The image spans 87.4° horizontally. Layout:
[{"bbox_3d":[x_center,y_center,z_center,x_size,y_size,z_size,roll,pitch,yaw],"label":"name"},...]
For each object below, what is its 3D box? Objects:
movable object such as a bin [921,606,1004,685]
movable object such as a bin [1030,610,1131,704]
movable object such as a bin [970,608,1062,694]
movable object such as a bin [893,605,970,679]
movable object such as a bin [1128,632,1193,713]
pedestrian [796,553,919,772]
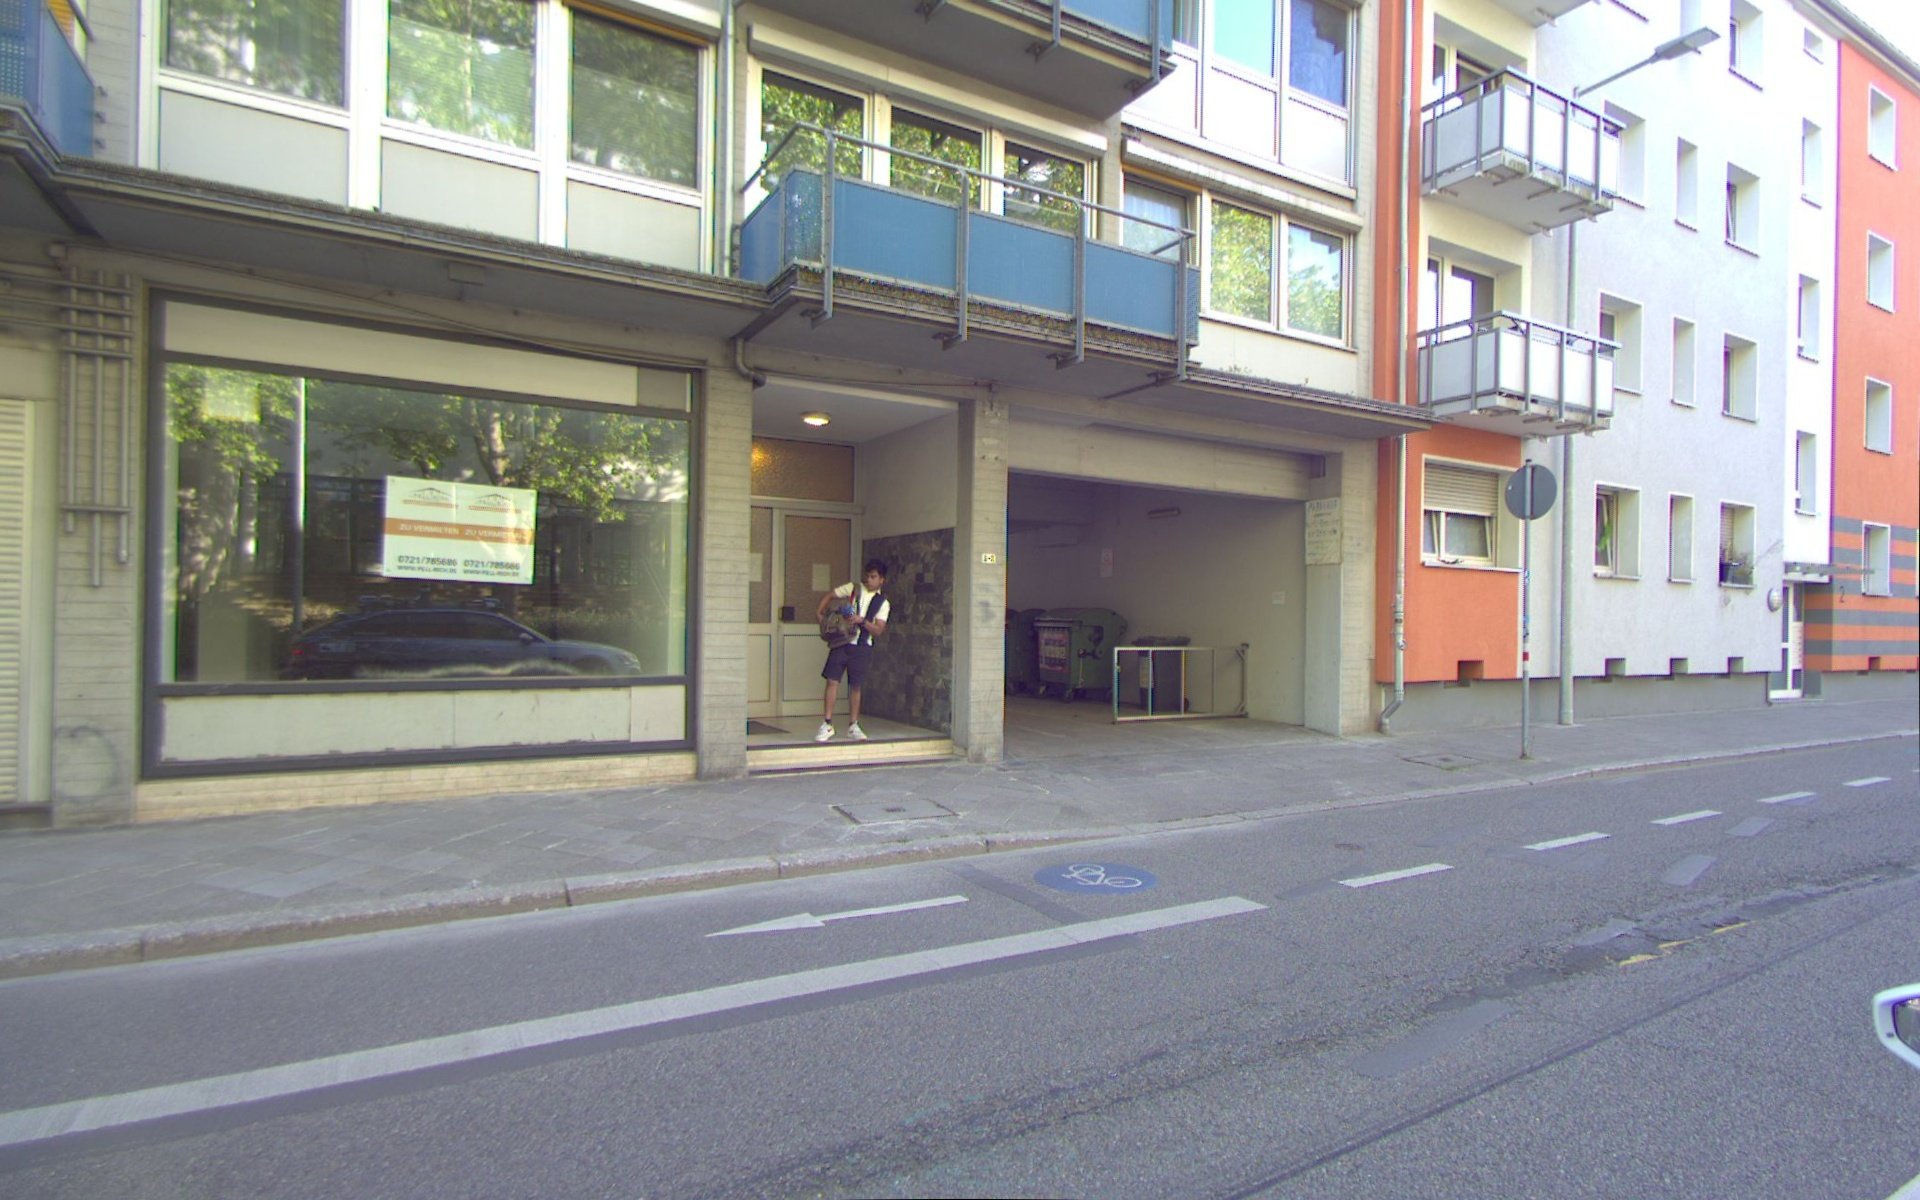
[{"bbox_3d":[0.032,0.830,18.693,1.066,1.384,1.255,2,0,-27],"label":"movable object such as a bin"},{"bbox_3d":[1.885,0.872,15.809,1.066,1.384,1.192,2,0,-27],"label":"movable object such as a bin"},{"bbox_3d":[0.943,0.850,17.124,1.066,1.384,1.255,2,0,-27],"label":"movable object such as a bin"},{"bbox_3d":[-0.576,0.817,19.862,1.066,1.384,1.255,2,0,-27],"label":"movable object such as a bin"},{"bbox_3d":[2.886,1.031,14.459,0.650,1.115,0.626,2,0,-27],"label":"movable object such as a bin"},{"bbox_3d":[-0.952,0.556,9.252,0.882,1.902,0.703,2,0,-28],"label":"pedestrian"}]
